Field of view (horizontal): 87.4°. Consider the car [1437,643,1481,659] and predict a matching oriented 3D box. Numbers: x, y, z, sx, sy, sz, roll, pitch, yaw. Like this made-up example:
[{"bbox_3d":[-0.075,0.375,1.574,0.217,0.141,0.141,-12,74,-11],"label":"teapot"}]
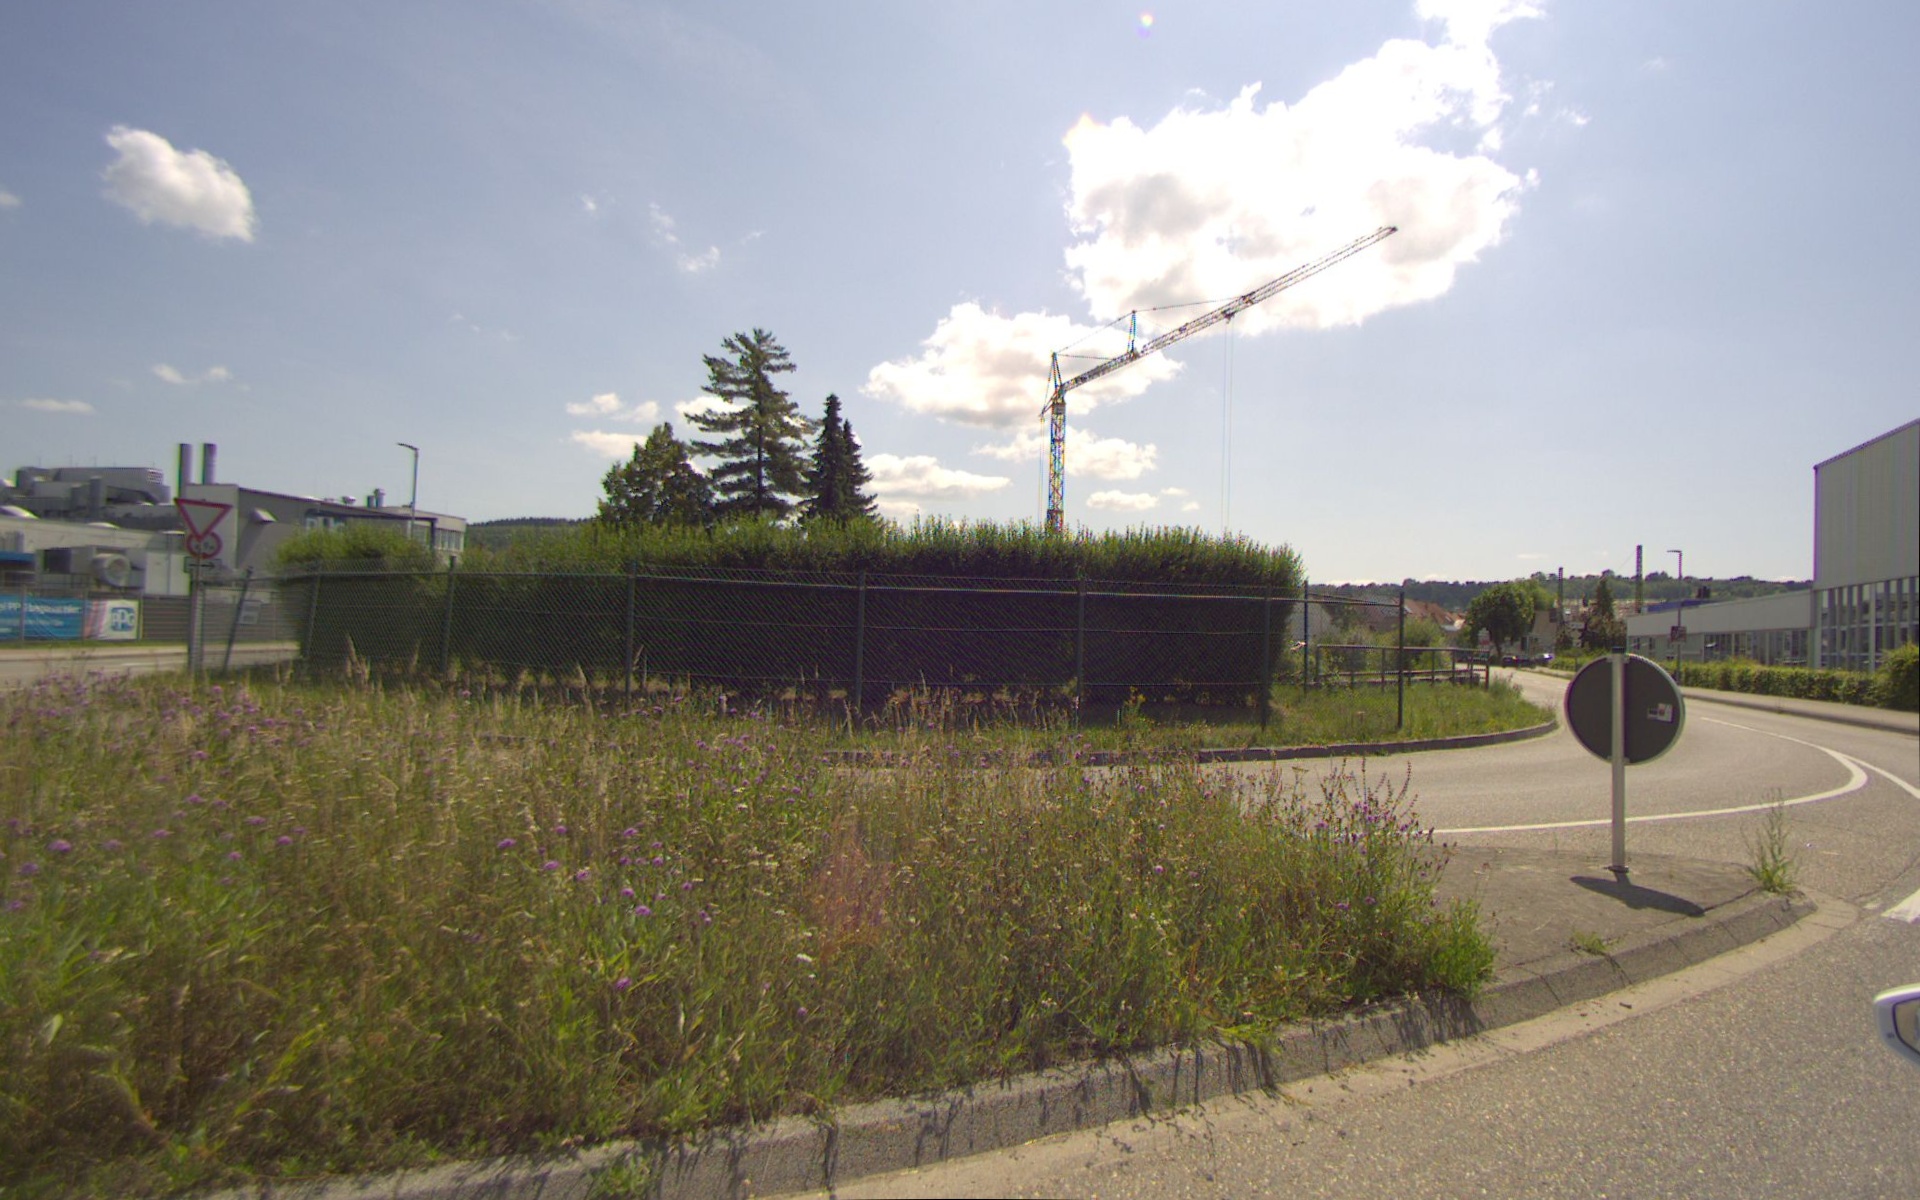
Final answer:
[{"bbox_3d":[55.675,5.717,112.049,4.117,1.482,1.666,3,-2,15],"label":"car"}]
